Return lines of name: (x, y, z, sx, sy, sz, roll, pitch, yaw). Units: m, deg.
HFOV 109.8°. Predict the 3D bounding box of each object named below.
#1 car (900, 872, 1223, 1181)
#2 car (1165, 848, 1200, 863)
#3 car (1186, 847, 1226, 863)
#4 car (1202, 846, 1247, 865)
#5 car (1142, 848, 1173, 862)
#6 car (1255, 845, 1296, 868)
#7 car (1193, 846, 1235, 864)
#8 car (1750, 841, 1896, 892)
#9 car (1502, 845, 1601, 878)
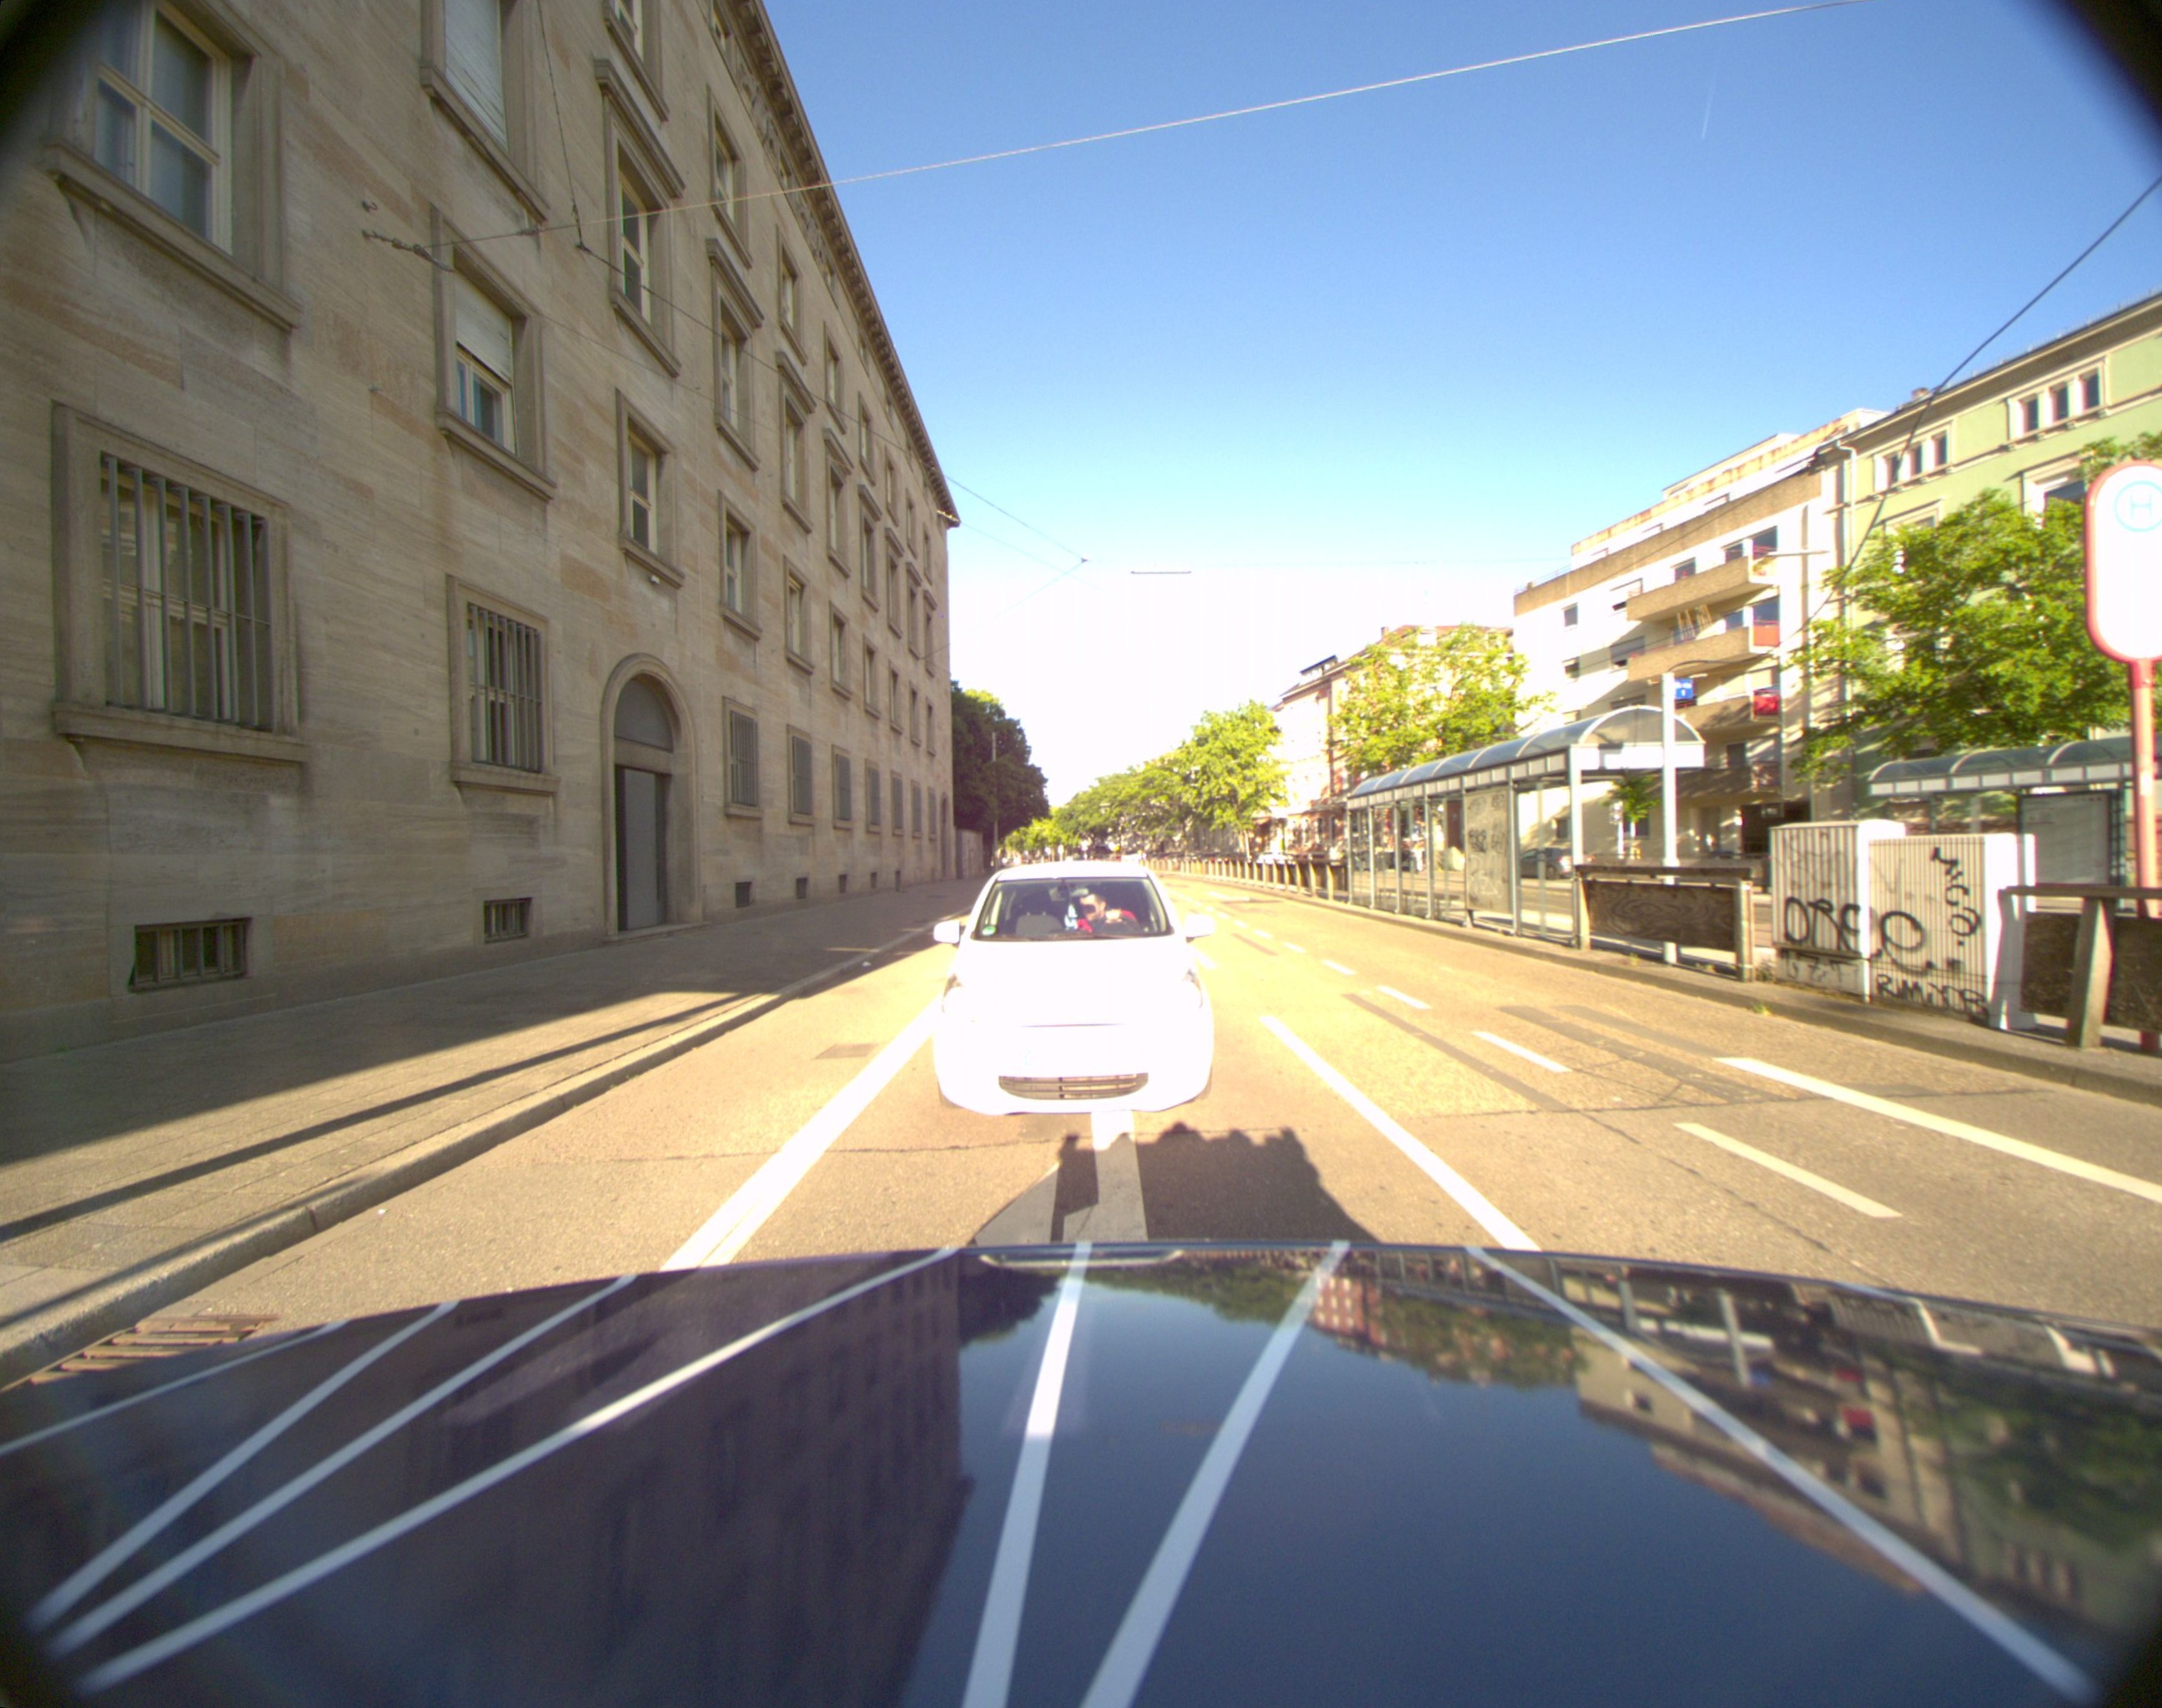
car: (-0.074, 0.921, 5.684, 1.612, 1.450, 3.667, -1, 0, 1)
car: (11.450, 0.142, 86.090, 3.864, 1.583, 2.001, -1, 0, 5)
car: (13.171, 0.082, 80.530, 3.996, 1.674, 2.000, -1, 0, 4)
car: (13.649, 0.126, 72.593, 3.996, 1.674, 2.000, -1, 0, 4)
car: (9.579, 0.127, 95.716, 3.864, 1.583, 2.001, -1, 0, 4)
car: (16.316, 0.161, 63.677, 1.994, 1.713, 4.007, 0, 2, 34)
car: (13.364, 0.111, 76.727, 3.996, 1.674, 2.000, -1, 0, 4)
car: (23.942, 0.367, 24.550, 3.796, 1.526, 1.772, -1, 0, -17)
car: (20.854, 0.314, 33.834, 1.615, 1.387, 3.516, -1, 0, -19)
